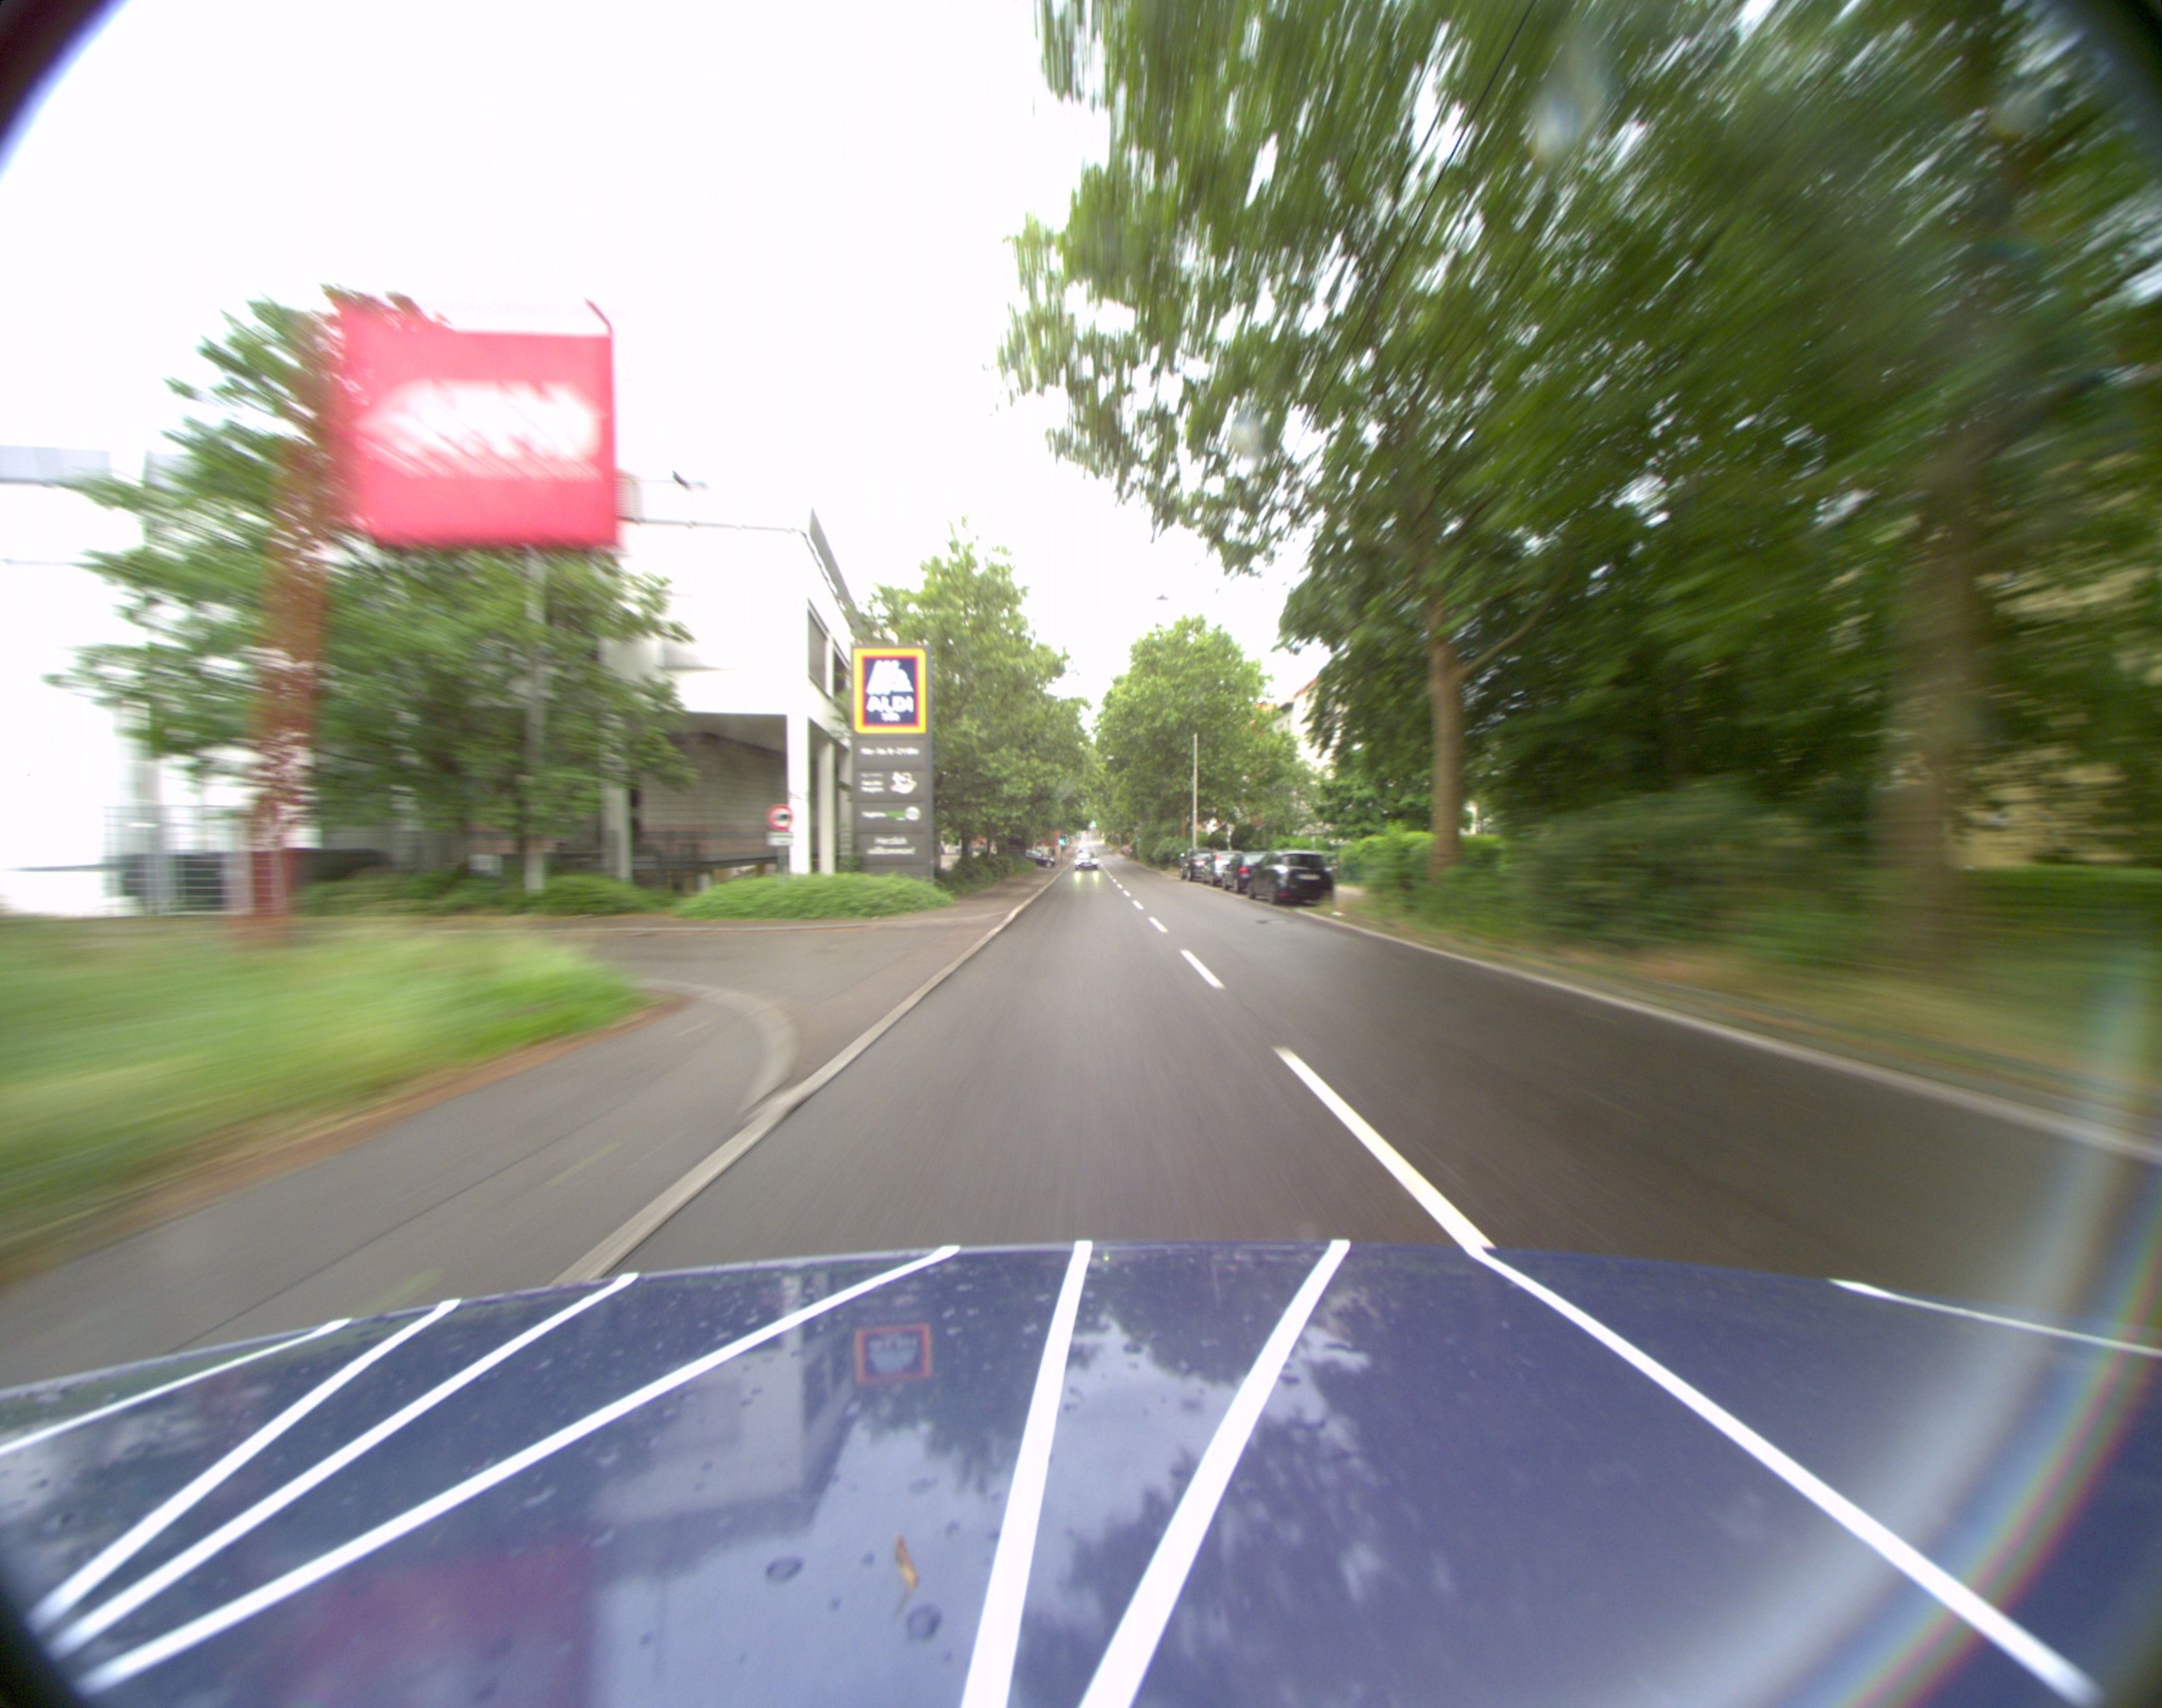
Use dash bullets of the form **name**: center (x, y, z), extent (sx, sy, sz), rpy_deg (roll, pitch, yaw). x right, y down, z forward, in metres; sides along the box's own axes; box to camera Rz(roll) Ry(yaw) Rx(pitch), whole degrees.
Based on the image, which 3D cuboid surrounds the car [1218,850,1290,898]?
- **car**: center (6.145, 0.651, 27.398), extent (1.676, 1.499, 3.873), rpy_deg (3, 1, 1)

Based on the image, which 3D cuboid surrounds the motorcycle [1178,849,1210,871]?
- **motorcycle**: center (7.079, 0.384, 47.562), extent (1.844, 1.308, 0.783), rpy_deg (2, 1, 0)

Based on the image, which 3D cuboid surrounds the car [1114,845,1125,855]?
- **car**: center (6.323, -0.700, 124.288), extent (1.559, 1.459, 3.395), rpy_deg (-2, 2, -1)

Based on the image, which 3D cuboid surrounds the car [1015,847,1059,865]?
- **car**: center (-3.908, 0.142, 67.118), extent (3.860, 1.538, 2.025), rpy_deg (0, 1, -5)

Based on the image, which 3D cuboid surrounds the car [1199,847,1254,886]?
- **car**: center (6.219, 0.510, 32.828), extent (1.676, 1.499, 4.123), rpy_deg (-2, 1, 2)

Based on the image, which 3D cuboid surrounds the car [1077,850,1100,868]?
- **car**: center (0.589, 0.381, 62.122), extent (1.692, 1.334, 3.998), rpy_deg (0, 2, -2)

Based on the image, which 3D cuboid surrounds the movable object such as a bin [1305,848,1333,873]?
- **movable object such as a bin**: center (13.739, 0.359, 43.913), extent (1.238, 1.372, 1.479), rpy_deg (-1, 1, 3)

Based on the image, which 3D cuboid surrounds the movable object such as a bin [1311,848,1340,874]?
- **movable object such as a bin**: center (13.615, 0.374, 42.388), extent (1.238, 1.372, 1.479), rpy_deg (-1, 1, 3)

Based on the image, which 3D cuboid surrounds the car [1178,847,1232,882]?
- **car**: center (6.067, 0.479, 37.609), extent (1.869, 1.582, 4.238), rpy_deg (2, 1, -1)

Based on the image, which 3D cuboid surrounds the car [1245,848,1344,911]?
- **car**: center (6.030, 0.652, 21.957), extent (1.652, 1.529, 4.017), rpy_deg (3, 1, 0)

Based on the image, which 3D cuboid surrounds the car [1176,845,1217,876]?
- **car**: center (6.611, 0.351, 43.806), extent (1.738, 1.648, 4.564), rpy_deg (3, 0, 2)

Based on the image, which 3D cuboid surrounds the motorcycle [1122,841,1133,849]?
- **motorcycle**: center (7.951, -1.484, 129.862), extent (1.717, 1.333, 0.722), rpy_deg (0, 2, 1)

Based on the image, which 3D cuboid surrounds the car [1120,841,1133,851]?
- **car**: center (7.530, -1.289, 124.789), extent (1.721, 1.501, 4.802), rpy_deg (-2, 2, -1)
